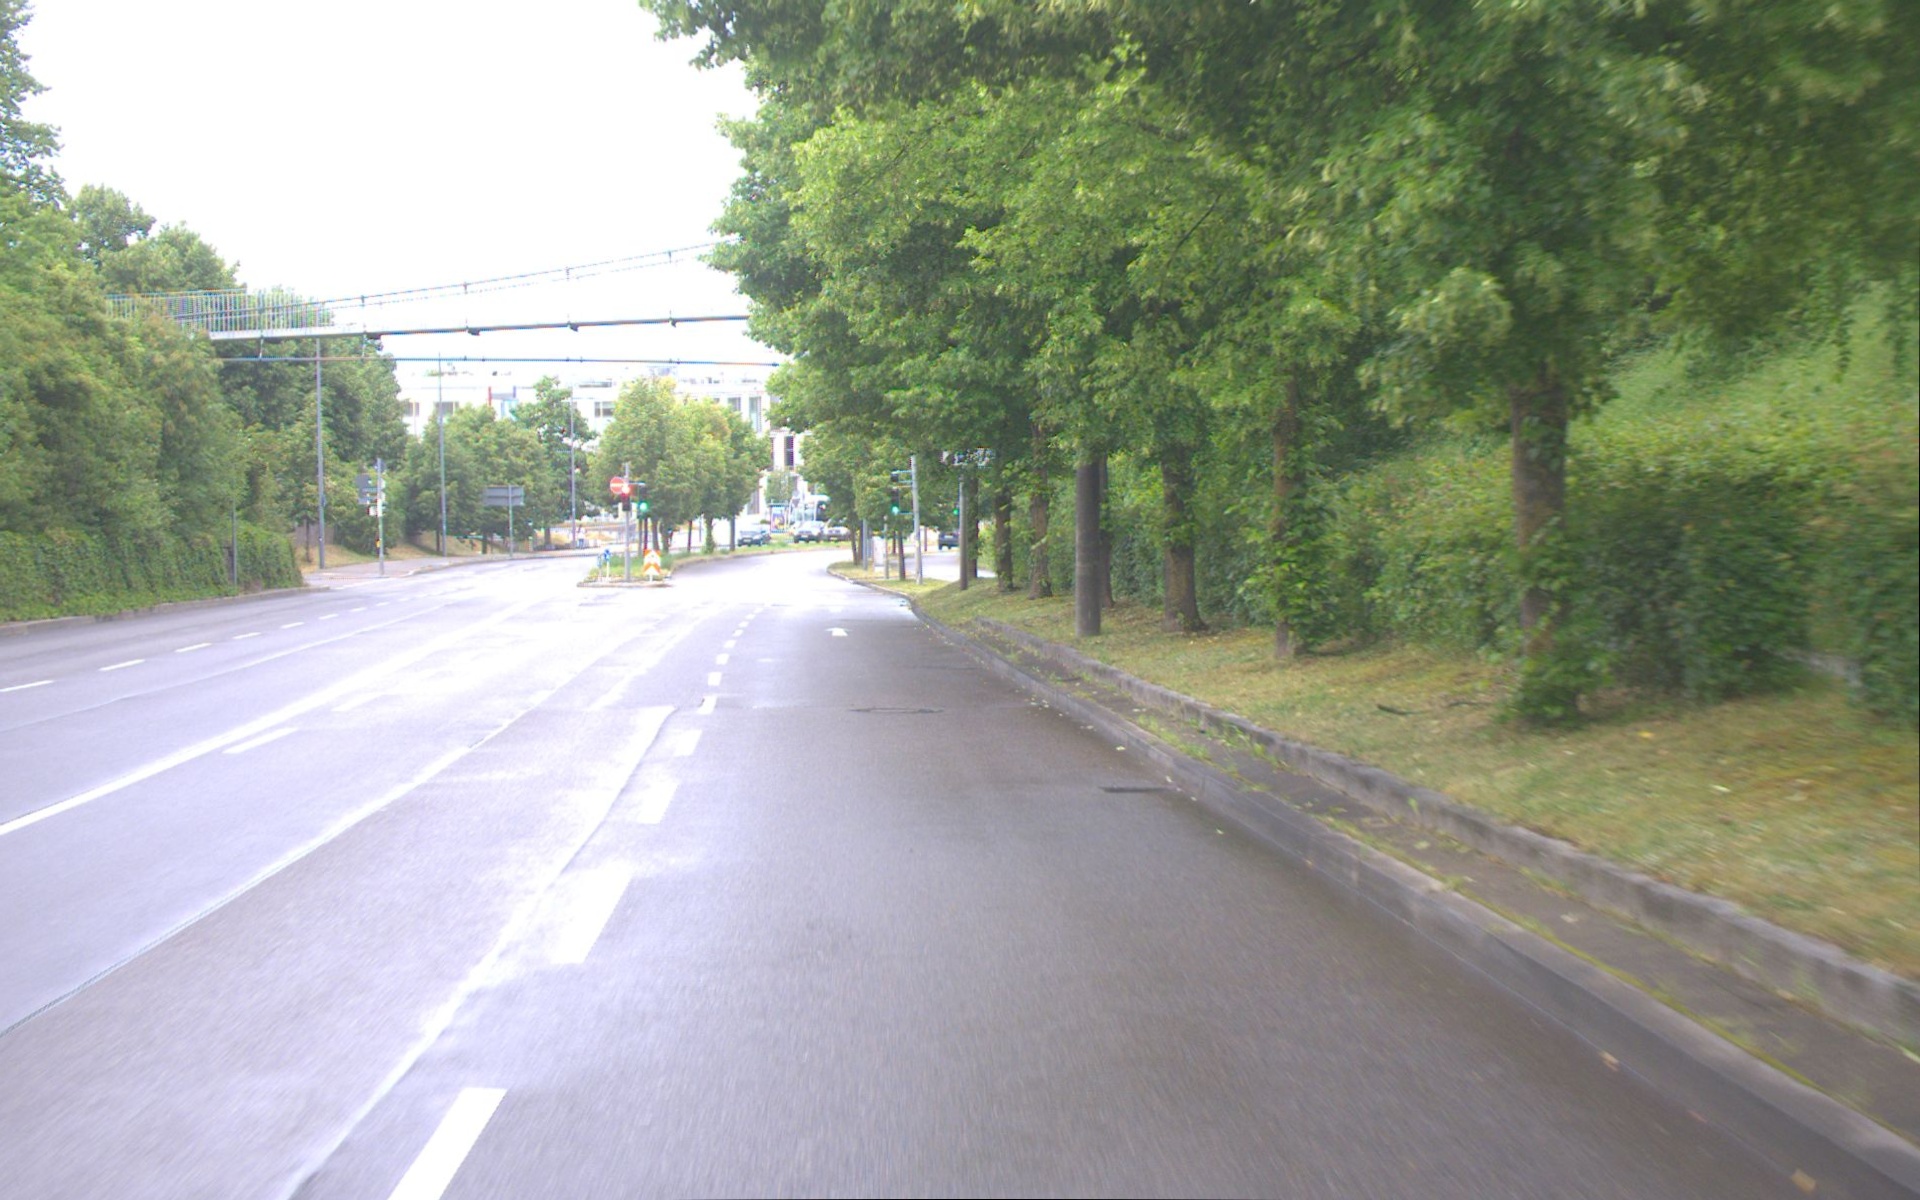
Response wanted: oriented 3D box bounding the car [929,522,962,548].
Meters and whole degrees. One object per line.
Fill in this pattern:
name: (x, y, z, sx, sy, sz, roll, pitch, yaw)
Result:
car: (-0.974, -4.417, 234.665, 1.849, 1.696, 3.792, 1, 0, 6)
